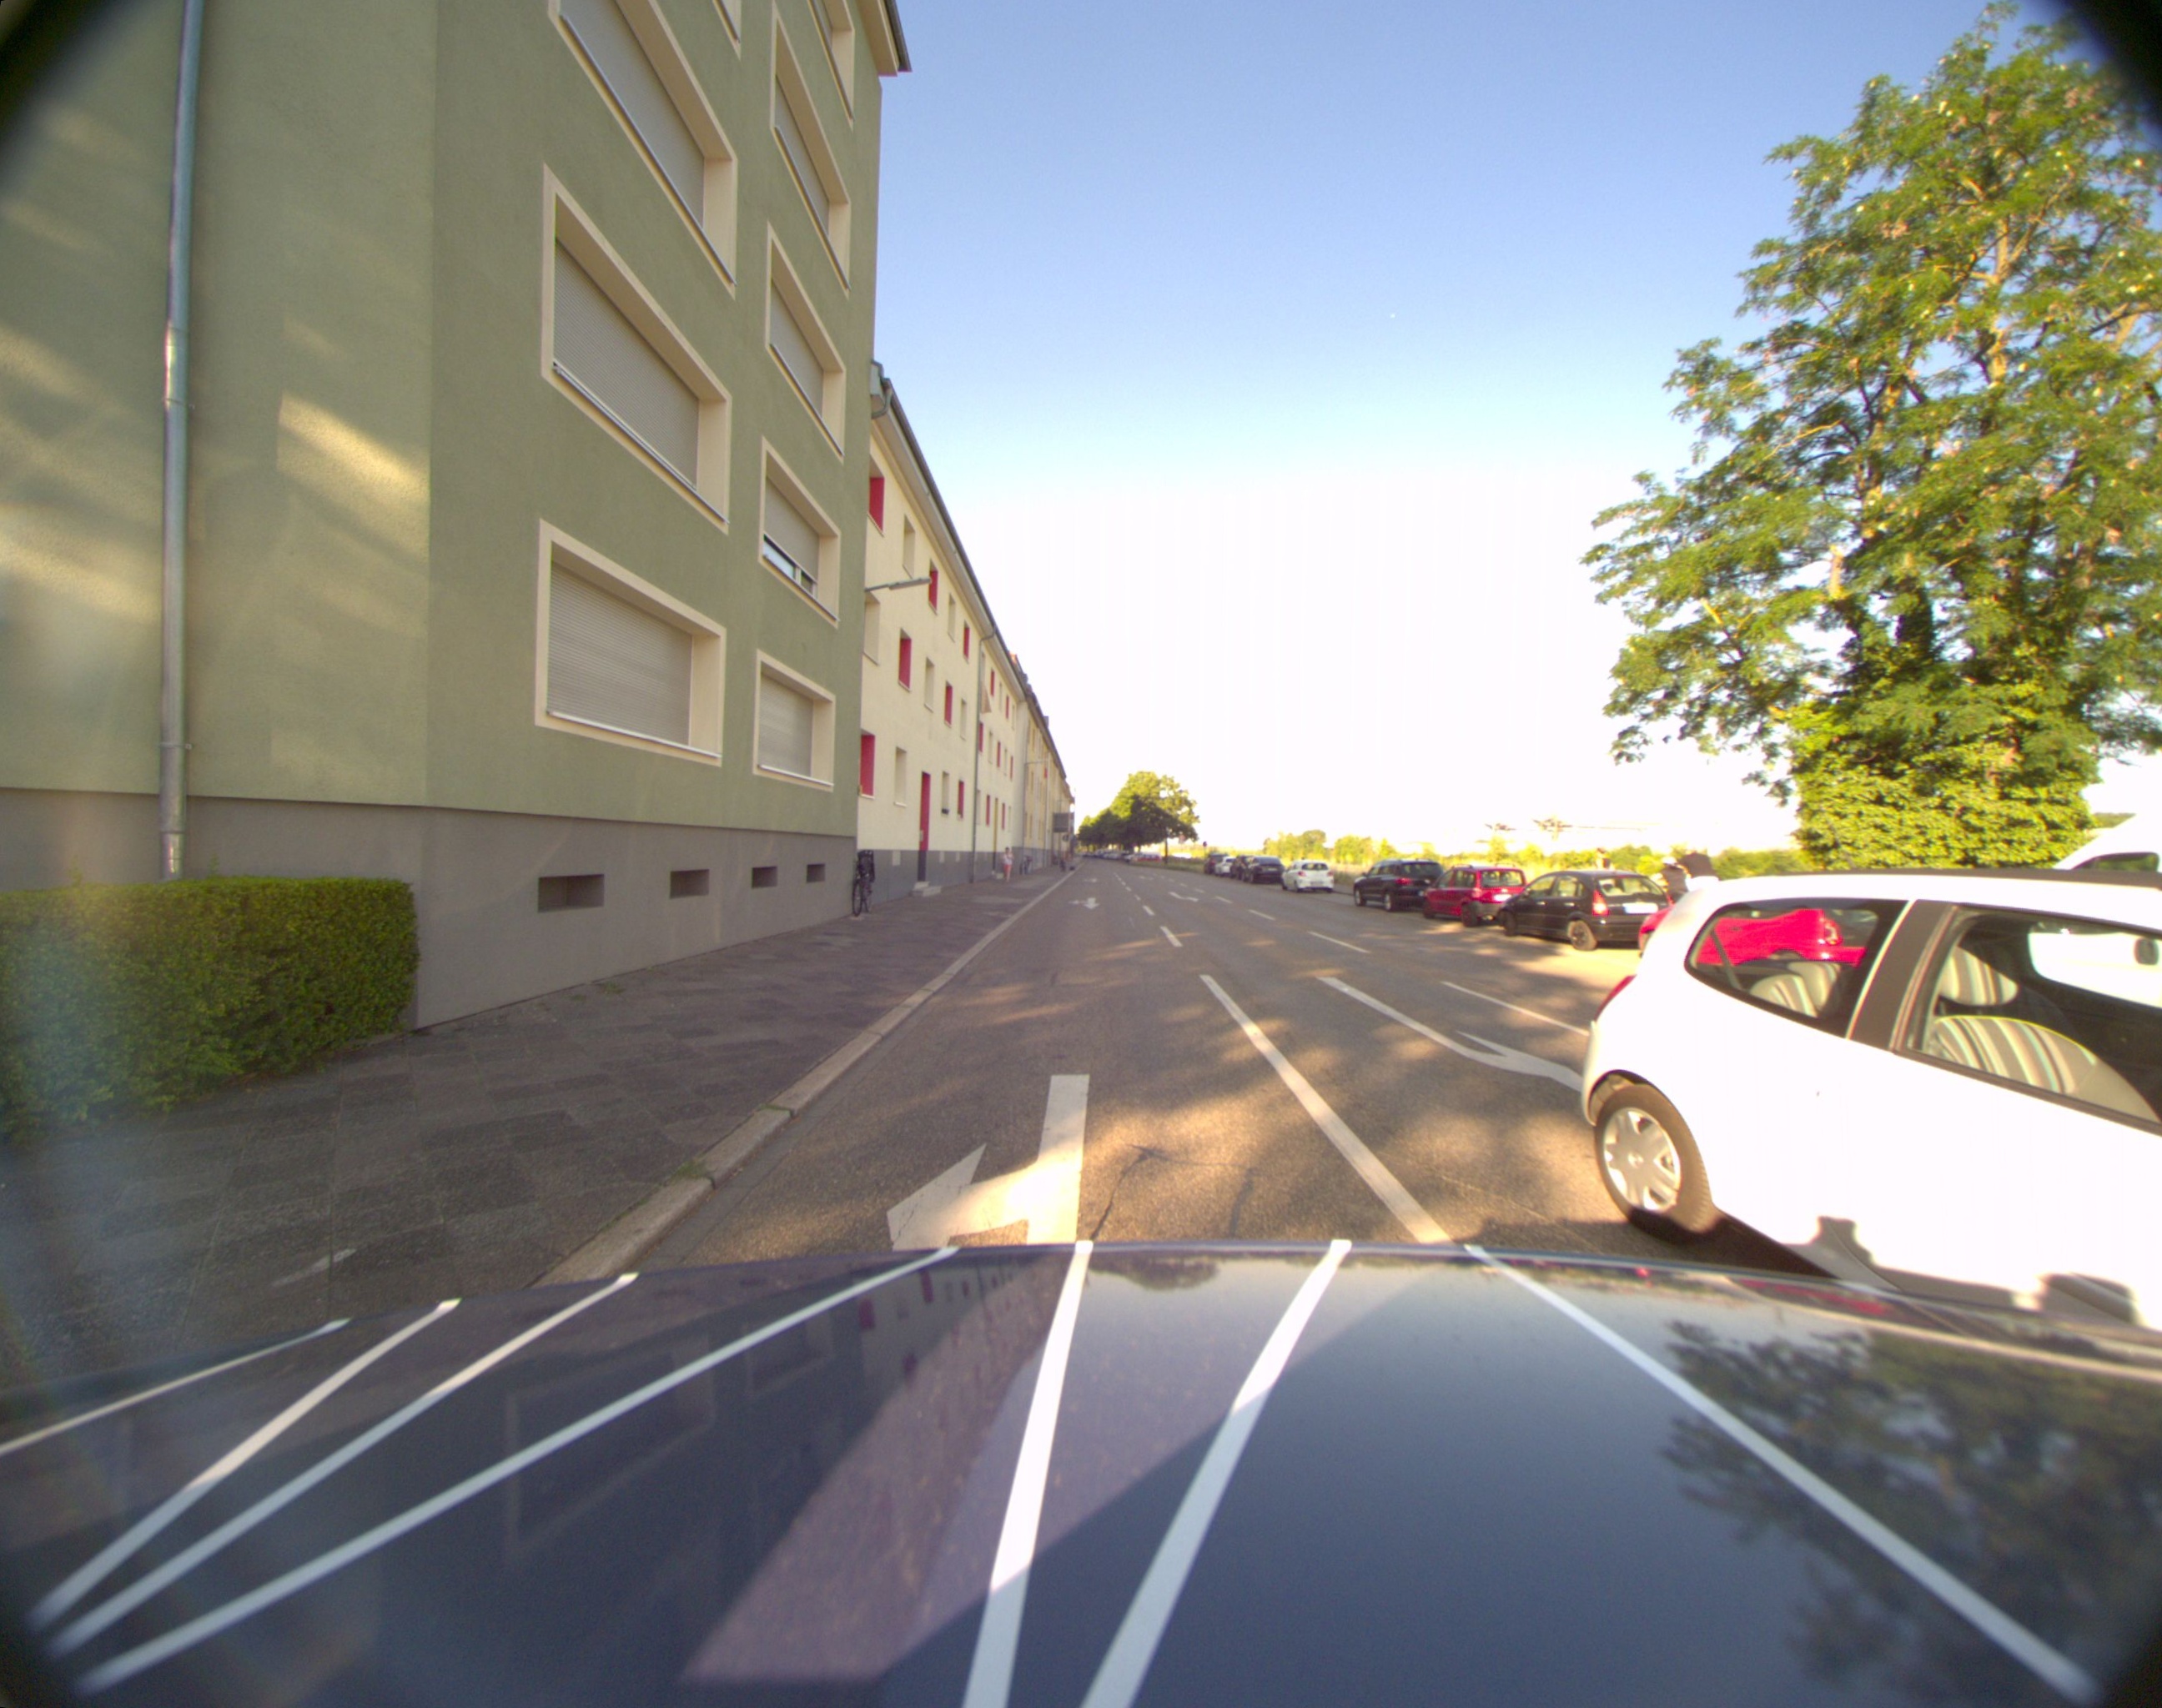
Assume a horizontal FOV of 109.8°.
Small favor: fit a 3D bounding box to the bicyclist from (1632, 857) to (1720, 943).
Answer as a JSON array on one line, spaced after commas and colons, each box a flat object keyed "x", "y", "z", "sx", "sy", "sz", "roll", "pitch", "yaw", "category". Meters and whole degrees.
[{"x": 11.635, "y": 0.874, "z": 14.905, "sx": 0.768, "sy": 1.587, "sz": 1.146, "roll": 2, "pitch": 1, "yaw": 0, "category": "bicyclist"}]

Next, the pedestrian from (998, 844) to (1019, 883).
[{"x": -3.219, "y": 0.423, "z": 33.817, "sx": 0.787, "sy": 1.697, "sz": 0.950, "roll": 3, "pitch": 1, "yaw": 1, "category": "pedestrian"}]

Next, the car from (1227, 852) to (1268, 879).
[{"x": 10.848, "y": 0.685, "z": 49.704, "sx": 1.823, "sy": 1.628, "sz": 4.220, "roll": 2, "pitch": 1, "yaw": 2, "category": "car"}]

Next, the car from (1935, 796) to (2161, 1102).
[{"x": 9.688, "y": 0.748, "z": 4.820, "sx": 2.235, "sy": 2.422, "sz": 5.559, "roll": -1, "pitch": 1, "yaw": -1, "category": "car"}]

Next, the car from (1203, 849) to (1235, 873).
[{"x": 11.003, "y": 0.528, "z": 60.982, "sx": 1.890, "sy": 1.765, "sz": 4.220, "roll": 2, "pitch": 1, "yaw": 2, "category": "car"}]

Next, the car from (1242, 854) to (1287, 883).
[{"x": 10.572, "y": 0.815, "z": 44.004, "sx": 1.823, "sy": 1.517, "sz": 4.291, "roll": 2, "pitch": 0, "yaw": 5, "category": "car"}]

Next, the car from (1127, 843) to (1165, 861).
[{"x": 9.522, "y": -0.290, "z": 112.243, "sx": 5.322, "sy": 2.398, "sz": 2.266, "roll": -2, "pitch": 1, "yaw": 0, "category": "car"}]

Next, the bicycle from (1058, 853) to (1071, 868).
[{"x": -1.247, "y": 0.496, "z": 56.843, "sx": 0.651, "sy": 1.091, "sz": 2.201, "roll": 1, "pitch": 1, "yaw": -8, "category": "bicycle"}]

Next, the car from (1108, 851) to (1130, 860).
[{"x": 7.489, "y": 0.264, "z": 149.735, "sx": 3.997, "sy": 1.708, "sz": 2.000, "roll": 2, "pitch": 1, "yaw": -1, "category": "car"}]

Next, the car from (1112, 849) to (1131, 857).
[{"x": 9.196, "y": -0.210, "z": 173.166, "sx": 3.997, "sy": 1.708, "sz": 2.000, "roll": 2, "pitch": 1, "yaw": -1, "category": "car"}]

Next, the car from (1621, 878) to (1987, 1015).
[{"x": 10.068, "y": 1.179, "z": 11.043, "sx": 1.745, "sy": 1.478, "sz": 3.694, "roll": 2, "pitch": 1, "yaw": 0, "category": "car"}]

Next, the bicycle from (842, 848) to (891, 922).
[{"x": -4.309, "y": 0.577, "z": 15.372, "sx": 0.517, "sy": 1.404, "sz": 1.873, "roll": 2, "pitch": 1, "yaw": -3, "category": "bicycle"}]

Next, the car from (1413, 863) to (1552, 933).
[{"x": 10.263, "y": 1.064, "z": 19.729, "sx": 1.664, "sy": 1.521, "sz": 3.579, "roll": 2, "pitch": 1, "yaw": 0, "category": "car"}]

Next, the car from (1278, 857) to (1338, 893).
[{"x": 10.411, "y": 0.923, "z": 35.070, "sx": 1.706, "sy": 1.517, "sz": 3.583, "roll": 2, "pitch": 1, "yaw": 1, "category": "car"}]

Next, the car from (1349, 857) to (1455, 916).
[{"x": 10.142, "y": 0.951, "z": 24.350, "sx": 1.664, "sy": 1.649, "sz": 4.005, "roll": 2, "pitch": 1, "yaw": 0, "category": "car"}]

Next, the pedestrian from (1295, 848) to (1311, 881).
[{"x": 13.730, "y": 0.654, "z": 47.008, "sx": 0.706, "sy": 2.002, "sz": 0.710, "roll": 2, "pitch": 1, "yaw": 2, "category": "pedestrian"}]

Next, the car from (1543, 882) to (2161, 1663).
[{"x": 3.013, "y": 0.896, "z": 1.610, "sx": 1.705, "sy": 1.460, "sz": 3.775, "roll": 2, "pitch": 1, "yaw": -1, "category": "car"}]

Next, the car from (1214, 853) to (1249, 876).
[{"x": 10.855, "y": 0.710, "z": 55.097, "sx": 1.823, "sy": 1.565, "sz": 4.220, "roll": 2, "pitch": 0, "yaw": 2, "category": "car"}]

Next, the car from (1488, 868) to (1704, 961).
[{"x": 10.170, "y": 1.106, "z": 15.412, "sx": 1.745, "sy": 1.521, "sz": 3.816, "roll": 2, "pitch": 1, "yaw": 0, "category": "car"}]

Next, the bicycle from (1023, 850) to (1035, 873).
[{"x": -3.162, "y": 0.436, "z": 46.308, "sx": 0.517, "sy": 1.318, "sz": 2.210, "roll": 2, "pitch": 1, "yaw": 2, "category": "bicycle"}]

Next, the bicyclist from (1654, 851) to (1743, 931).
[{"x": 12.930, "y": 0.752, "z": 15.947, "sx": 0.866, "sy": 1.587, "sz": 1.146, "roll": 2, "pitch": 1, "yaw": -1, "category": "bicyclist"}]

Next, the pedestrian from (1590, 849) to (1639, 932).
[{"x": 13.258, "y": 0.894, "z": 18.896, "sx": 0.615, "sy": 2.002, "sz": 0.730, "roll": 2, "pitch": 1, "yaw": -1, "category": "pedestrian"}]

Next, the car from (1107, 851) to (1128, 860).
[{"x": 7.421, "y": 0.205, "z": 155.317, "sx": 3.997, "sy": 1.708, "sz": 2.000, "roll": 2, "pitch": 1, "yaw": -1, "category": "car"}]
